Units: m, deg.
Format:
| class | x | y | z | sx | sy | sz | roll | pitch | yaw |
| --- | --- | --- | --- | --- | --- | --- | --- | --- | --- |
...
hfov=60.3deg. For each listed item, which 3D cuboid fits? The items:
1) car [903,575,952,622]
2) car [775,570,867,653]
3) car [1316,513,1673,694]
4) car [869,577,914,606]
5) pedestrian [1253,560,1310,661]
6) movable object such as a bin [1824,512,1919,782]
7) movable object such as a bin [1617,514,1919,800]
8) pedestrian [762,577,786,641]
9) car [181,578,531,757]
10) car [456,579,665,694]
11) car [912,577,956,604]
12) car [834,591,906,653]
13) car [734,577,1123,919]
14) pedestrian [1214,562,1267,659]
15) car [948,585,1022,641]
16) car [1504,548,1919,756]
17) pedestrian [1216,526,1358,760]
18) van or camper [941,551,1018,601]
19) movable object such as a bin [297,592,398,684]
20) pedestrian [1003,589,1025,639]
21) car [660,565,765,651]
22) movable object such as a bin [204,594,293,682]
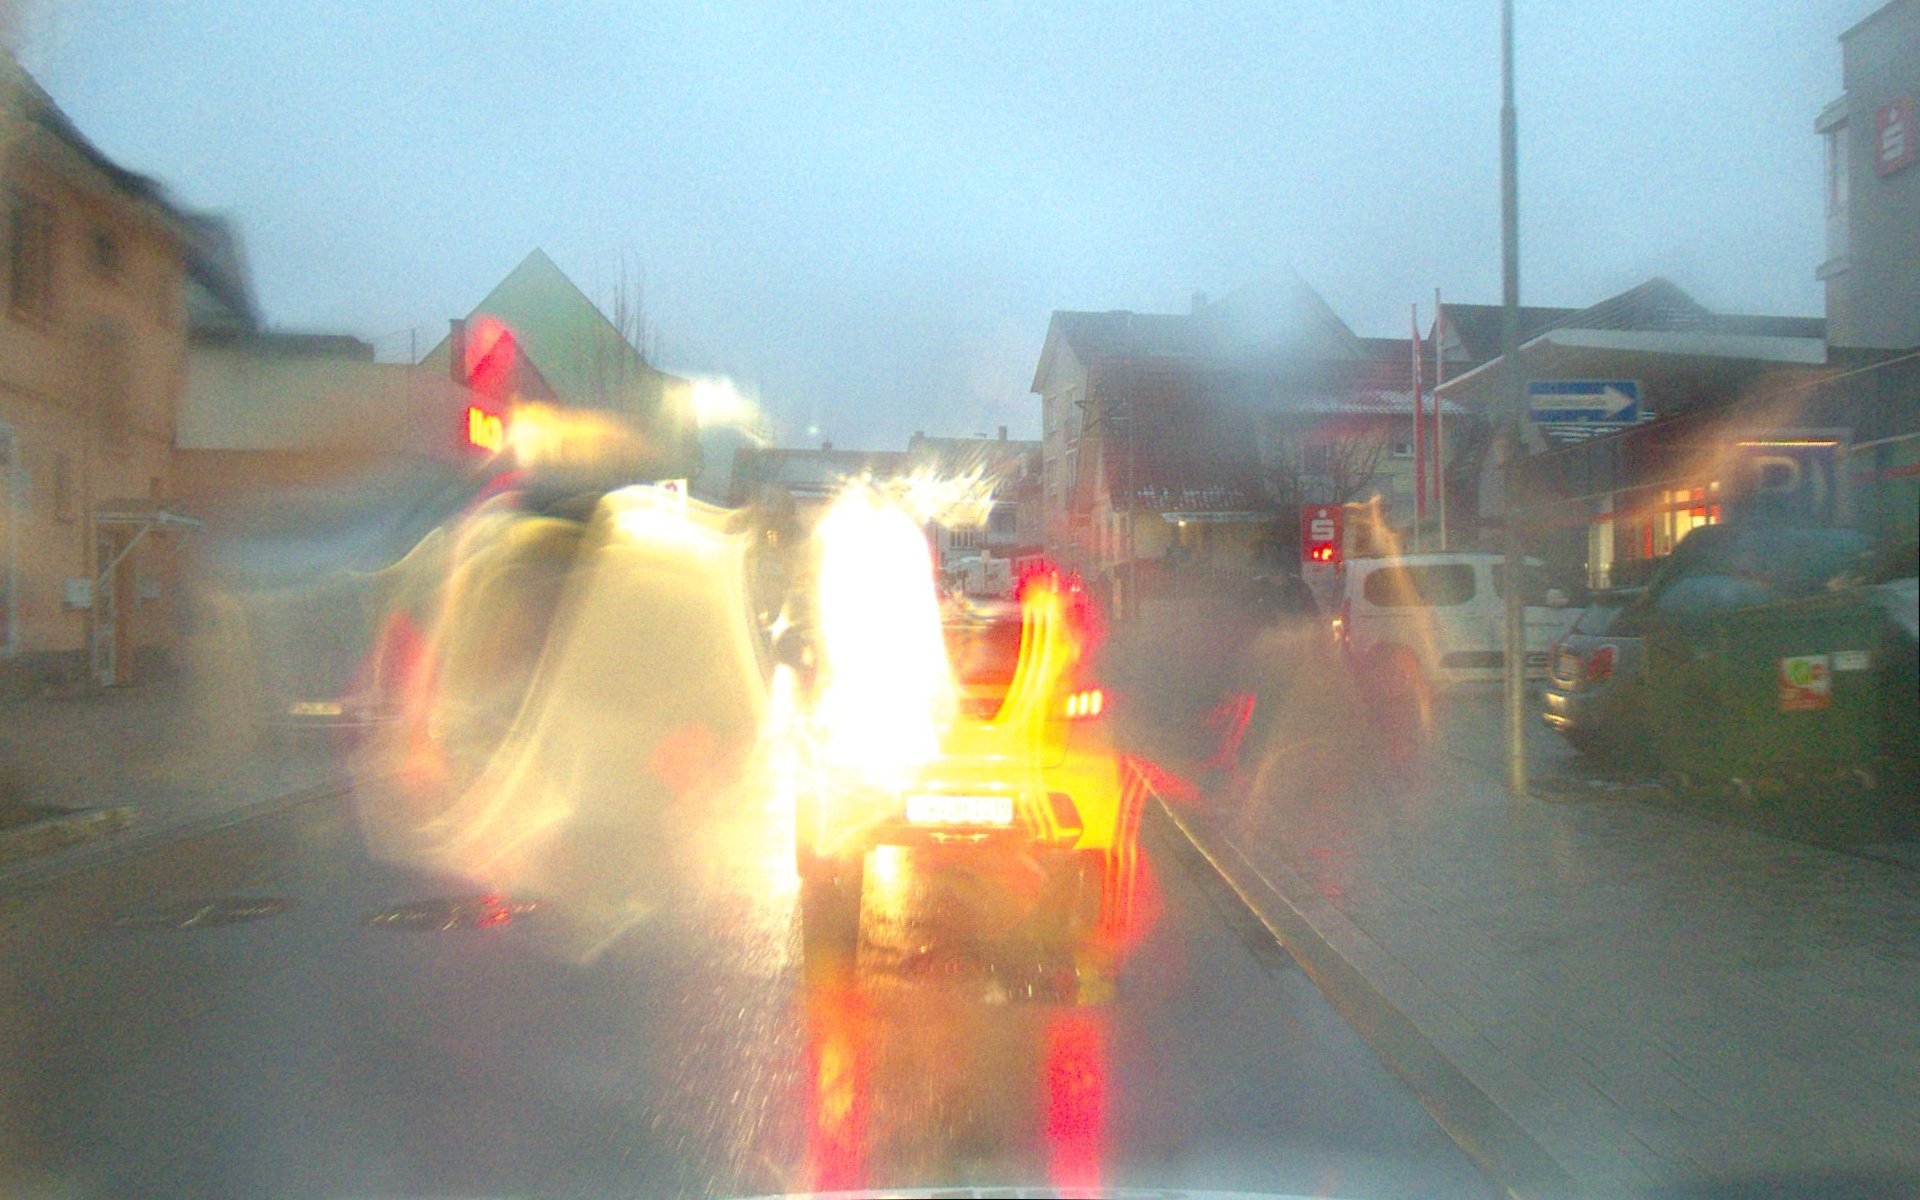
| class | x | y | z | sx | sy | sz | roll | pitch | yaw |
| --- | --- | --- | --- | --- | --- | --- | --- | --- | --- |
| car | -1.406 | -0.079 | 70.145 | 1.954 | 1.890 | 3.998 | 1 | 0 | -3 |
| car | -3.272 | 0.218 | 39.805 | 1.954 | 1.735 | 4.965 | 2 | 2 | -3 |
| car | 6.730 | 0.049 | 21.232 | 4.004 | 2.085 | 2.002 | -2 | 0 | 7 |
| car | -4.567 | -0.571 | 109.664 | 1.962 | 1.795 | 4.330 | -2 | 1 | -17 |
| pedestrian | 5.641 | 0.178 | 29.069 | 0.690 | 1.735 | 0.913 | -2 | 0 | -7 |
| movable object such as a bin | 6.534 | 0.261 | 10.631 | 1.260 | 1.672 | 1.184 | -2 | 1 | -4 |
| movable object such as a bin | 5.198 | 0.335 | 10.635 | 1.365 | 1.672 | 1.261 | -2 | 0 | -3 |
| pedestrian | -4.683 | 0.219 | 41.655 | 0.563 | 1.613 | 0.530 | 0 | 1 | -3 |
| car | -6.075 | 0.595 | 17.306 | 1.953 | 1.585 | 4.620 | 1 | 0 | 0 |
| car | -5.833 | 0.481 | 24.792 | 1.953 | 1.549 | 4.977 | 0 | 0 | 0 |
| car | -1.770 | -0.600 | 110.078 | 1.961 | 1.639 | 4.157 | -2 | 0 | -15 |
| car | -2.823 | 0.641 | 51.146 | 1.914 | 1.573 | 4.410 | -1 | 3 | -7 |
| car | -0.201 | 0.684 | 9.676 | 1.778 | 1.560 | 3.999 | 1 | 0 | -2 |
| pedestrian | 5.133 | 0.191 | 30.298 | 0.825 | 1.735 | 0.839 | -2 | 0 | 4 |
| car | 0.731 | 0.391 | 50.826 | 1.954 | 1.616 | 3.997 | 1 | 0 | -3 |
| car | 6.594 | 0.387 | 13.169 | 3.904 | 1.512 | 1.913 | -1 | -1 | 2 |
| pedestrian | 2.781 | 0.355 | 14.159 | 0.947 | 1.922 | 1.005 | 1 | 0 | -3 |
| van or camper | 1.267 | -1.580 | 110.912 | 2.616 | 3.100 | 6.686 | -4 | 2 | -23 |
| movable object such as a bin | -9.854 | 0.605 | 26.646 | 1.316 | 1.377 | 0.887 | -3 | 0 | -10 |
| pedestrian | 1.931 | 0.482 | 59.326 | 0.730 | 1.759 | 0.872 | 0 | 1 | -4 |
| car | -5.592 | 0.135 | 37.980 | 2.045 | 1.823 | 5.019 | 1 | 1 | -5 |
| movable object such as a bin | -11.351 | 0.602 | 26.416 | 1.129 | 1.378 | 0.849 | 0 | 0 | -11 |
